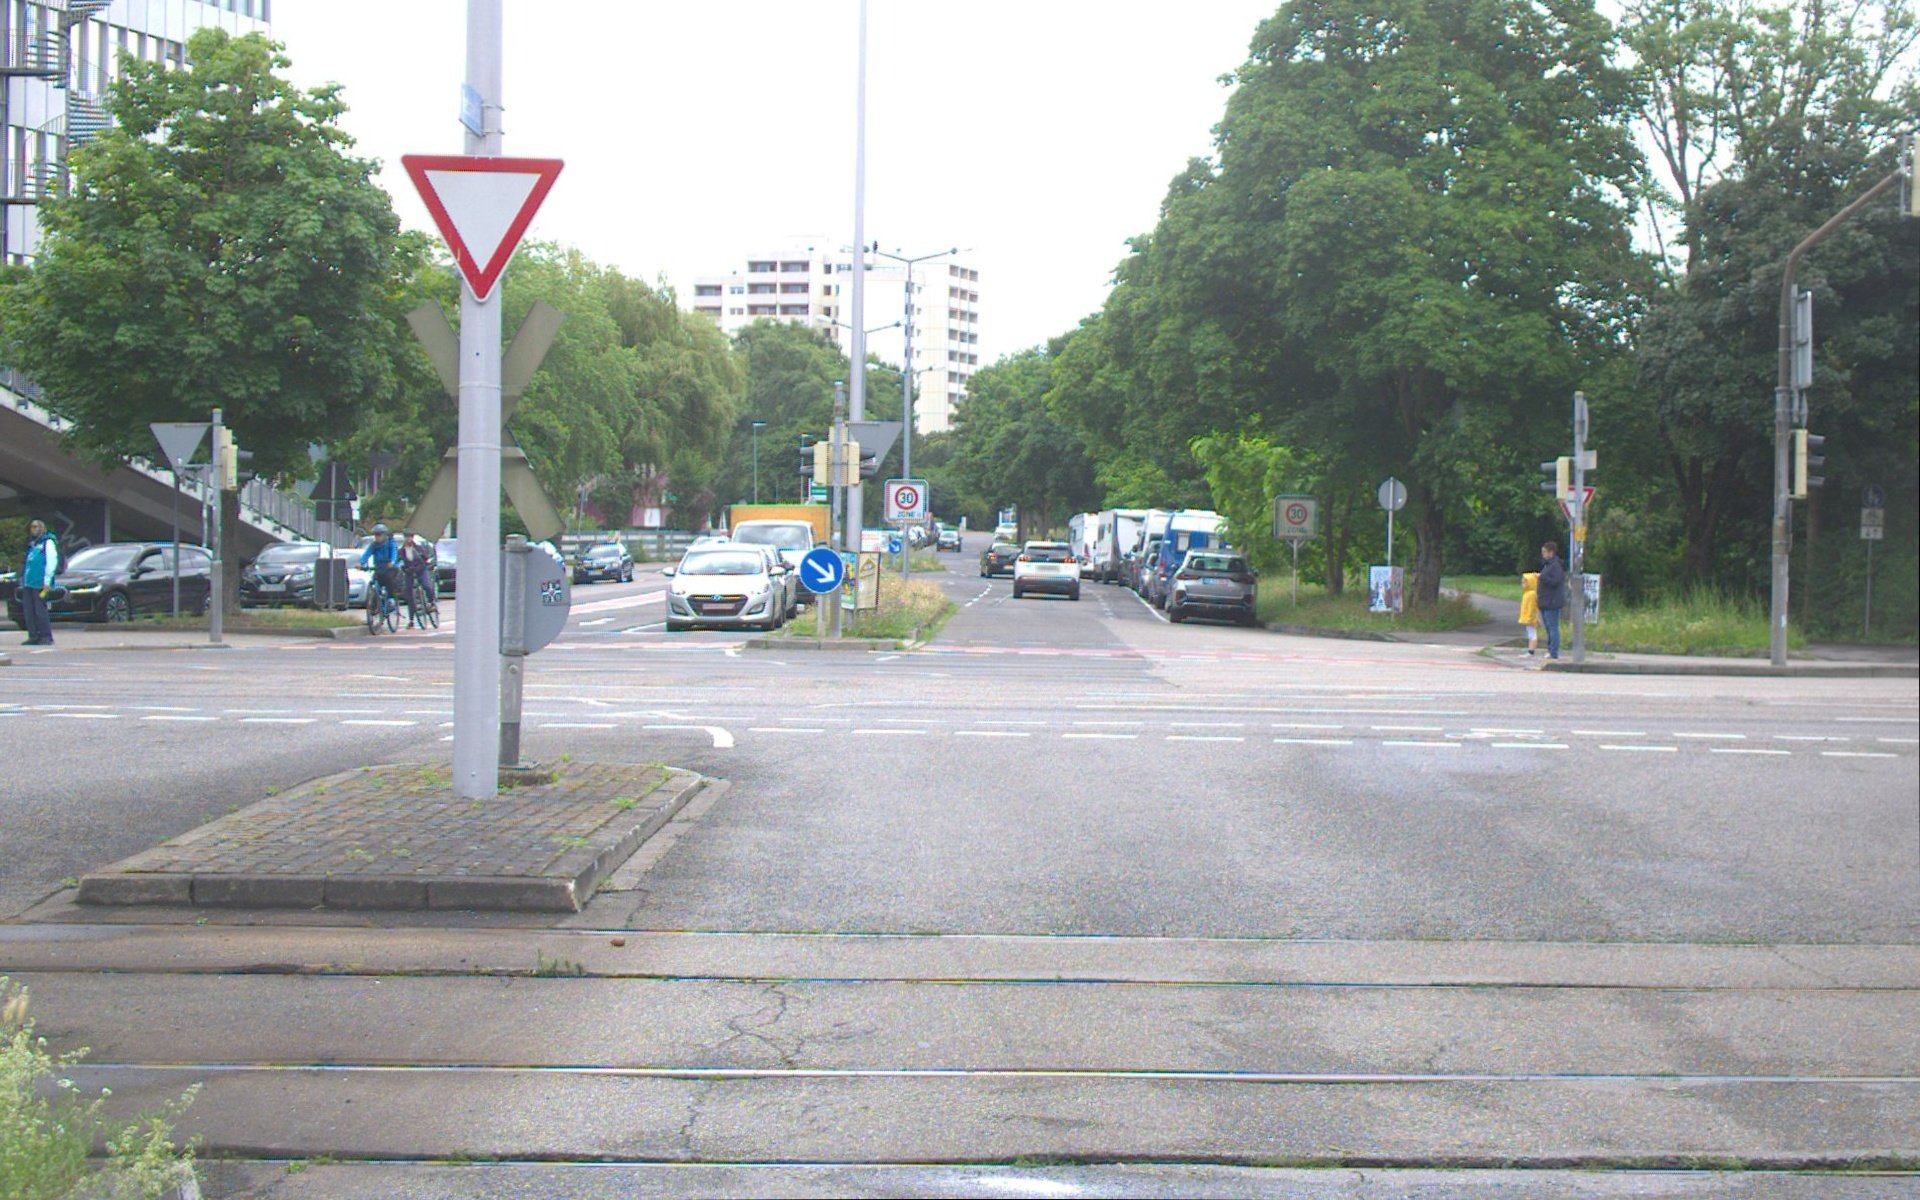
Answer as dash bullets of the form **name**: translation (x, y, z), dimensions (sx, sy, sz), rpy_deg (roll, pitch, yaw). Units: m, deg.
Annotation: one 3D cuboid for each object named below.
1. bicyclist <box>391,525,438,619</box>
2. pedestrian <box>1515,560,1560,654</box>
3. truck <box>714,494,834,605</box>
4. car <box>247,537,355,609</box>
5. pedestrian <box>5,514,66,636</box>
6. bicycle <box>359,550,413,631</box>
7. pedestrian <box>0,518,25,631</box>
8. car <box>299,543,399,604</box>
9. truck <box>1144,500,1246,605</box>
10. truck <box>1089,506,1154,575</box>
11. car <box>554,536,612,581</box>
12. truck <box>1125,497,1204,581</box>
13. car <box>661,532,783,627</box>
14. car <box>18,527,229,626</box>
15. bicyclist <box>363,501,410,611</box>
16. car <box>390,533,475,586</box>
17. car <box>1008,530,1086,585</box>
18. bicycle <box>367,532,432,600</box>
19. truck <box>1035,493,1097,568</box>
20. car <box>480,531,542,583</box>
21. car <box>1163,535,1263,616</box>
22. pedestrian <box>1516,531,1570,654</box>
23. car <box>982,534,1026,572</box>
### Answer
- **bicyclist**: translation (-9.289, -0.480, 58.541), dimensions (0.679, 1.589, 0.695), rpy_deg (1, 0, -1)
- **pedestrian**: translation (8.376, 0.097, 49.889), dimensions (0.527, 1.337, 0.525), rpy_deg (1, 1, -1)
- **truck**: translation (-3.835, -1.080, 71.853), dimensions (2.155, 2.191, 5.840), rpy_deg (1, 1, 0)
- **car**: translation (-14.850, -0.625, 77.641), dimensions (1.671, 1.546, 3.892), rpy_deg (1, 1, 0)
- **pedestrian**: translation (-12.327, -0.335, 45.839), dimensions (0.687, 1.599, 0.488), rpy_deg (1, 1, -5)
- **bicycle**: translation (-9.310, -0.172, 55.817), dimensions (0.543, 1.263, 2.111), rpy_deg (1, 1, -1)
- **pedestrian**: translation (-12.987, -0.347, 45.915), dimensions (0.917, 1.505, 0.404), rpy_deg (1, 1, -11)
- **car**: translation (-14.747, -0.661, 83.137), dimensions (1.671, 1.382, 3.895), rpy_deg (1, 1, 0)
- **truck**: translation (6.156, -1.244, 90.716), dimensions (2.174, 2.647, 6.247), rpy_deg (0, 1, -1)
- **truck**: translation (6.168, -2.254, 132.131), dimensions (1.993, 2.564, 5.379), rpy_deg (1, 1, -2)
- **car**: translation (-13.791, -1.533, 125.904), dimensions (1.671, 1.546, 4.000), rpy_deg (1, 1, 0)
- **truck**: translation (7.106, -2.127, 120.058), dimensions (1.993, 2.828, 5.732), rpy_deg (1, 1, -4)
- **car**: translation (-3.965, -0.374, 57.864), dimensions (1.789, 1.514, 4.326), rpy_deg (1, 1, -1)
- **car**: translation (-13.849, -0.414, 57.132), dimensions (1.673, 1.546, 3.997), rpy_deg (1, 1, 15)
- **bicyclist**: translation (-9.312, -0.713, 55.846), dimensions (0.644, 1.762, 0.647), rpy_deg (1, 1, -1)
- **car**: translation (-14.488, -1.135, 94.562), dimensions (1.763, 1.390, 4.000), rpy_deg (1, 1, -1)
- **car**: translation (2.437, -1.213, 96.876), dimensions (2.020, 1.500, 4.000), rpy_deg (1, 1, -1)
- **bicycle**: translation (-9.397, -0.585, 57.675), dimensions (0.726, 1.097, 2.264), rpy_deg (1, 1, -1)
- **truck**: translation (4.390, -2.861, 142.918), dimensions (1.993, 2.998, 5.773), rpy_deg (1, 1, -4)
- **car**: translation (-13.705, -1.336, 105.132), dimensions (1.444, 1.546, 3.664), rpy_deg (1, 1, -1)
- **car**: translation (5.401, -0.549, 73.925), dimensions (1.784, 1.656, 4.000), rpy_deg (1, 1, -1)
- **pedestrian**: translation (8.353, -0.107, 49.275), dimensions (0.657, 1.744, 0.459), rpy_deg (1, 1, -1)
- **car**: translation (1.771, -1.898, 138.343), dimensions (1.554, 1.500, 4.001), rpy_deg (1, 1, -2)
